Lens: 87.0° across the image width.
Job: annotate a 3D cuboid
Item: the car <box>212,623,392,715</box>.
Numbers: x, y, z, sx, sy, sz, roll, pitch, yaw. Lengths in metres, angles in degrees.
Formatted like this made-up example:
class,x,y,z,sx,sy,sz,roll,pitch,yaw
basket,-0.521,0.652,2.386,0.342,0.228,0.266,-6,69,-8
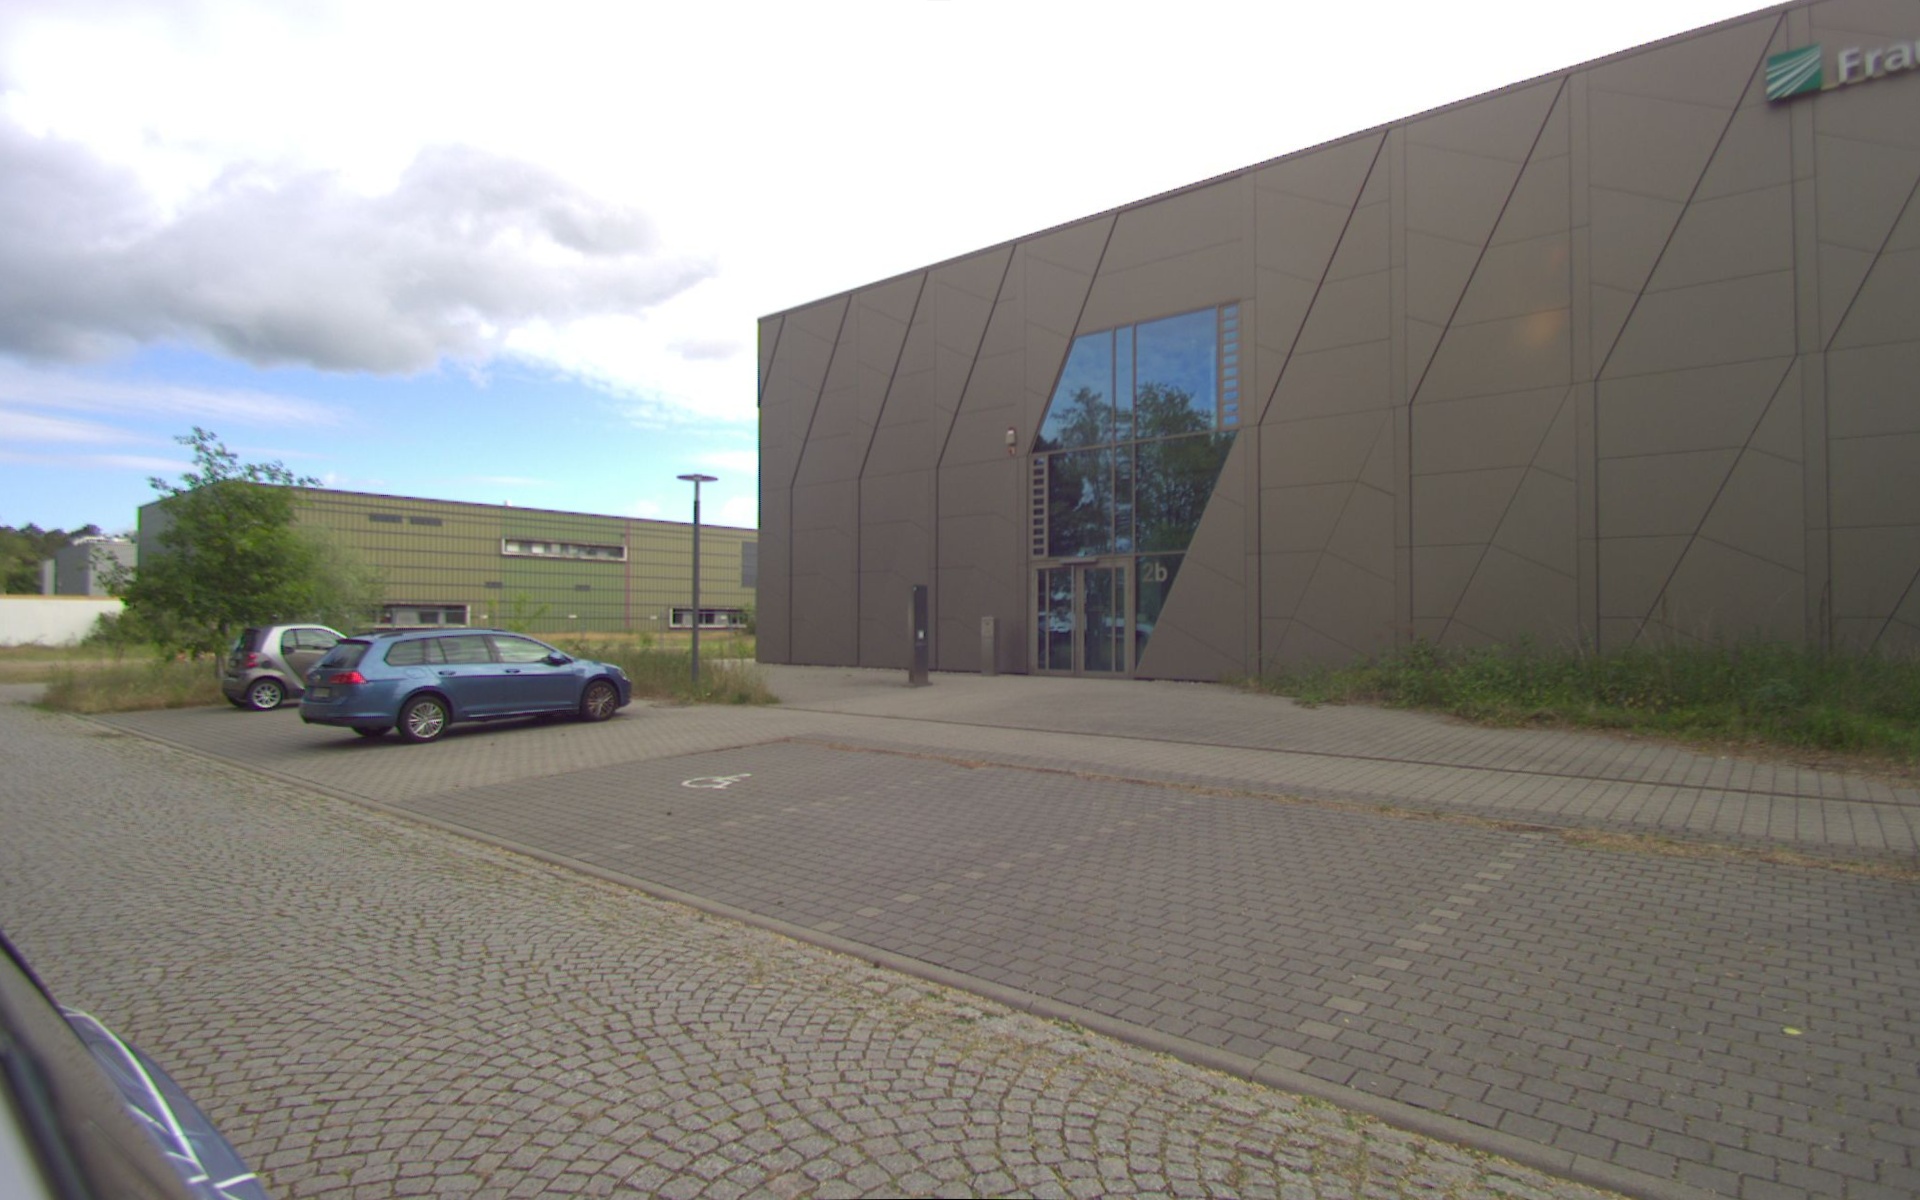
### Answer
class,x,y,z,sx,sy,sz,roll,pitch,yaw
car,-12.591,1.254,19.427,1.498,1.541,2.553,-1,0,38

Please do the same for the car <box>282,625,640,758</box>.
class,x,y,z,sx,sy,sz,roll,pitch,yaw
car,-7.002,1.171,14.632,1.631,1.481,4.373,-1,0,38
